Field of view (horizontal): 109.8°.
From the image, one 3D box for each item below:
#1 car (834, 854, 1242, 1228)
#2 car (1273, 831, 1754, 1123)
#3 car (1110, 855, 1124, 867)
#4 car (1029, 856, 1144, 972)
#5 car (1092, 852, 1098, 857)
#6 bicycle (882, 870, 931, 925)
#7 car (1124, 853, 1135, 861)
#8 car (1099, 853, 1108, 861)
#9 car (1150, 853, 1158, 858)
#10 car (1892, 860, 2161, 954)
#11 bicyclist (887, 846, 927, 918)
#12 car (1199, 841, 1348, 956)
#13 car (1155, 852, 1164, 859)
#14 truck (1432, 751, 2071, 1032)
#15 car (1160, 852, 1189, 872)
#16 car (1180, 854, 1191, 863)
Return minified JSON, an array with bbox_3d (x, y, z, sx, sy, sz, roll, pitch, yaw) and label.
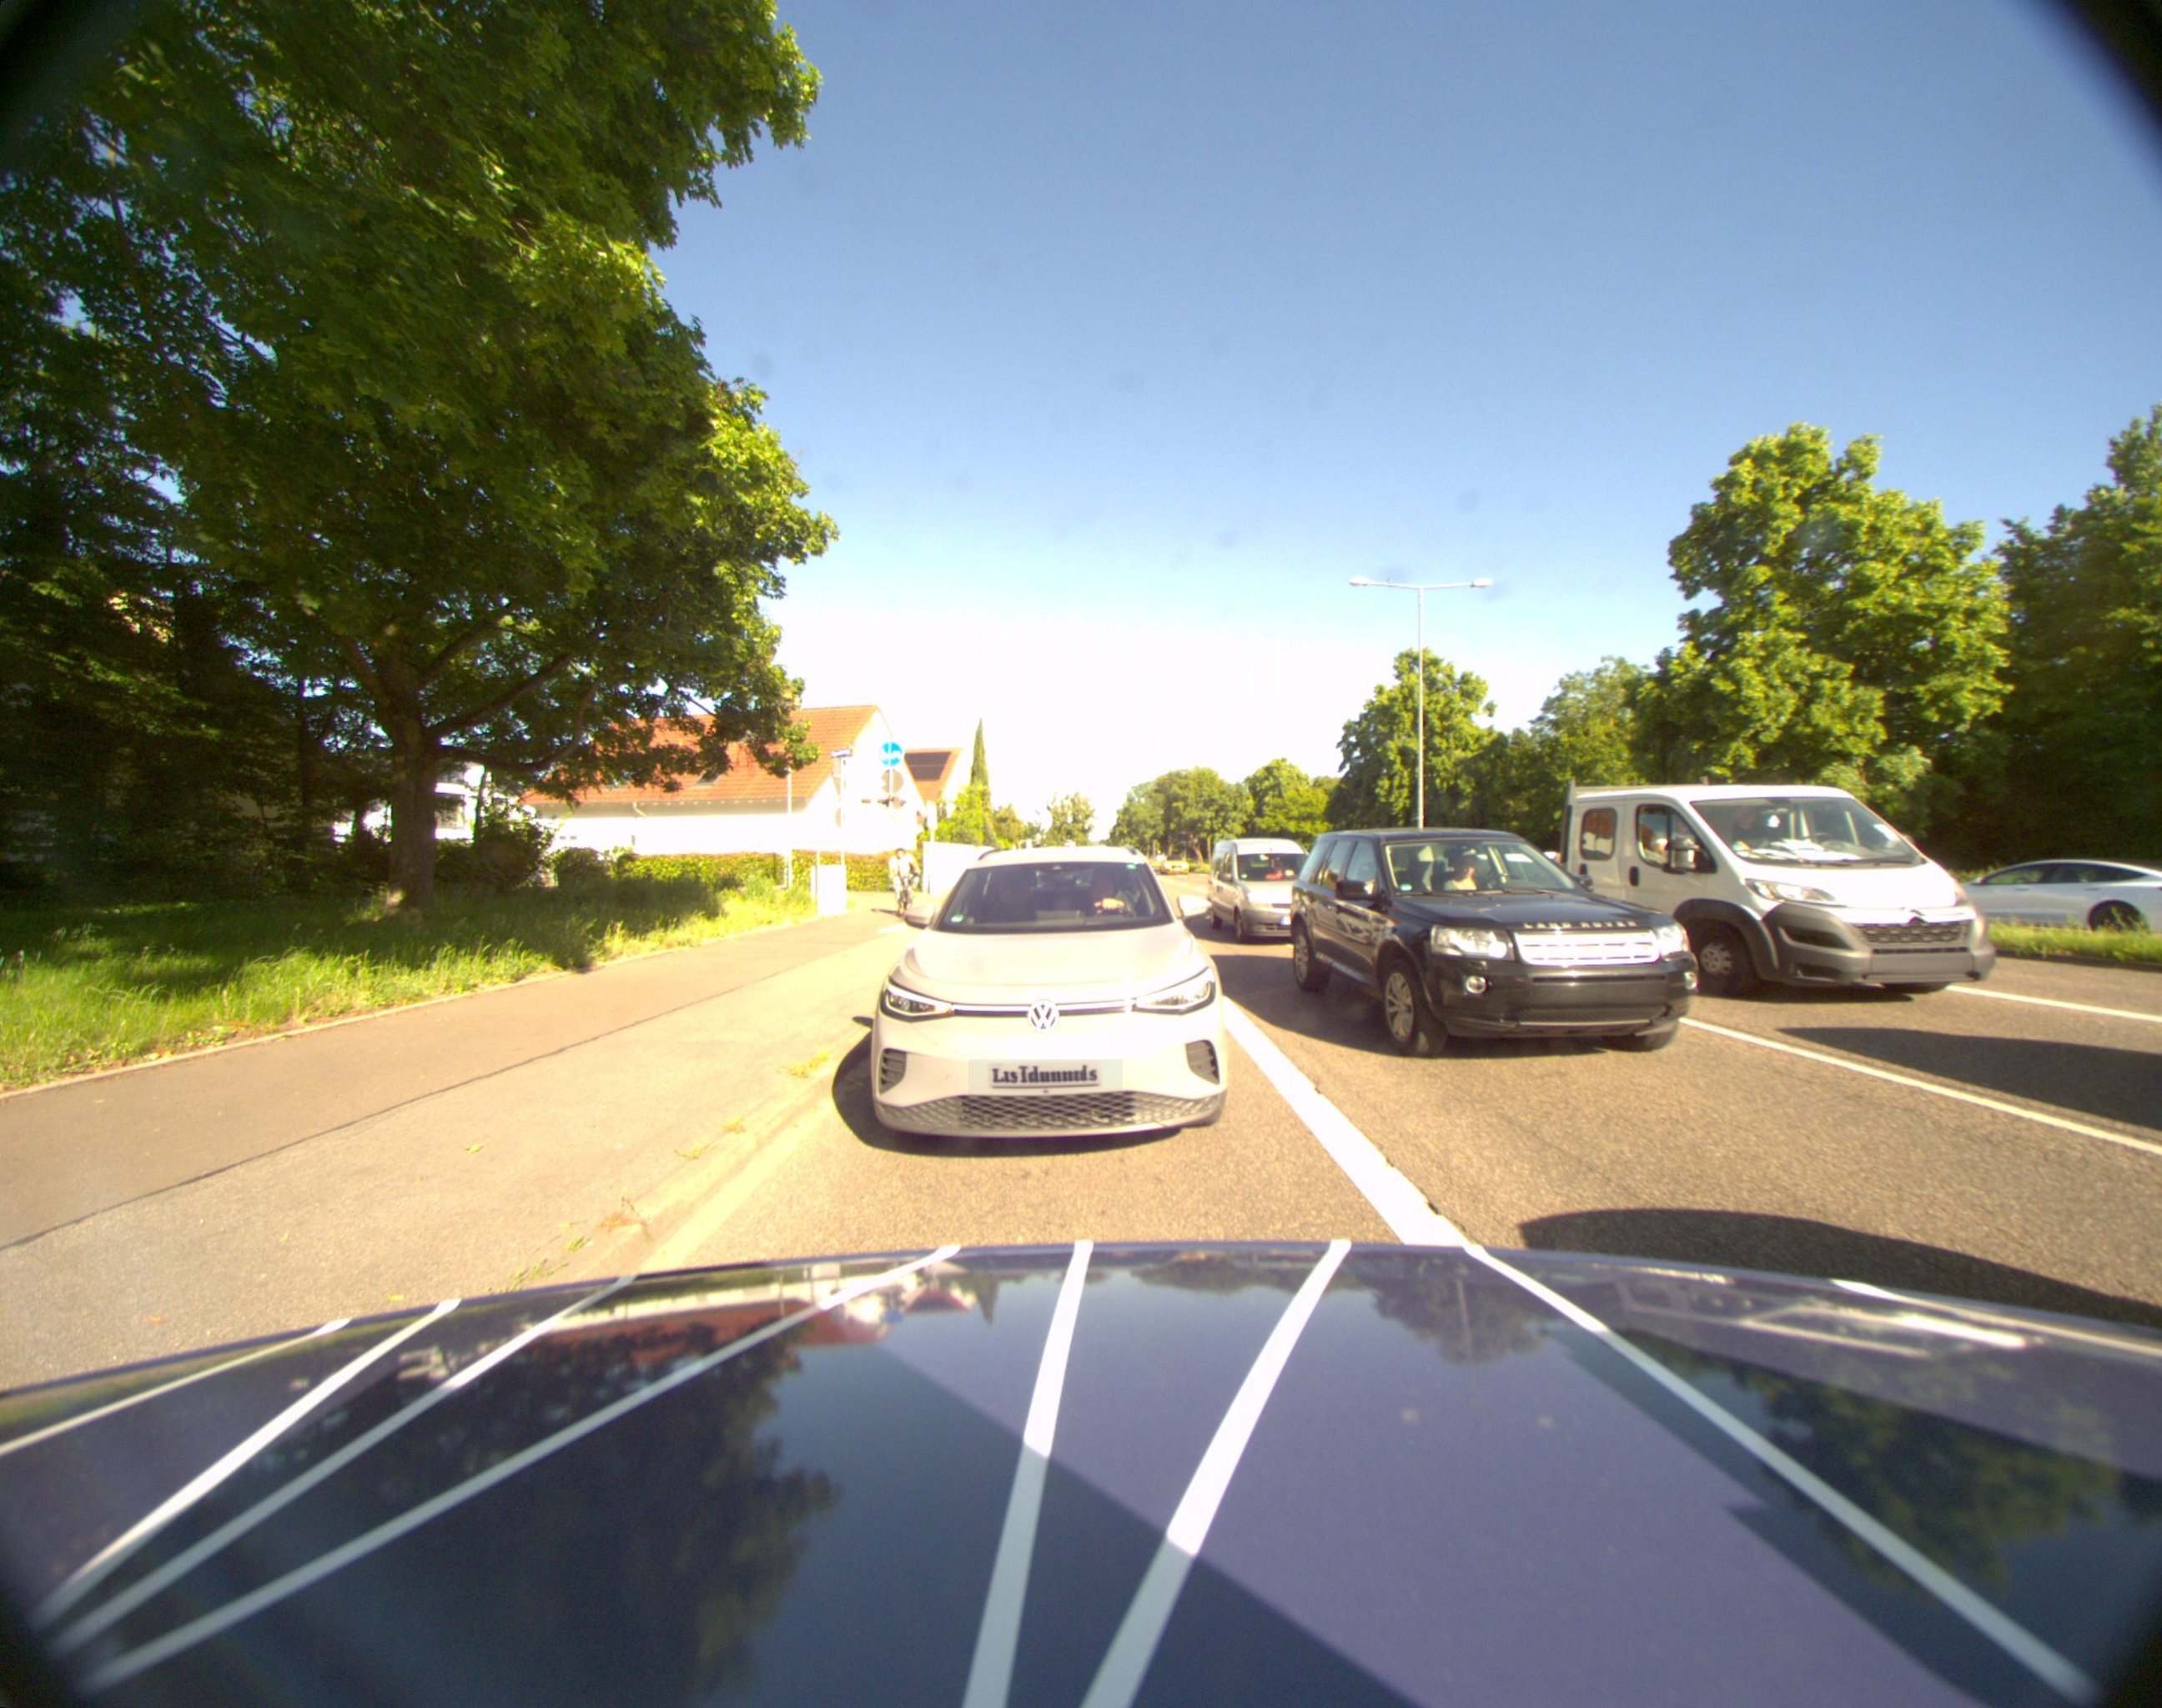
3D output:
[{"bbox_3d":[-0.169,0.855,5.578,1.858,1.679,4.206,0,1,1],"label":"car"},{"bbox_3d":[3.166,0.723,6.774,1.816,1.721,4.386,-1,1,1],"label":"car"},{"bbox_3d":[4.597,0.913,97.452,1.630,1.466,3.931,-1,0,0],"label":"car"},{"bbox_3d":[0.109,0.873,13.022,1.632,1.586,4.024,-1,1,1],"label":"car"},{"bbox_3d":[4.068,0.181,220.134,1.726,1.630,4.000,0,0,1],"label":"car"},{"bbox_3d":[-4.058,0.977,17.579,0.581,1.091,1.982,3,0,-27],"label":"bicycle"},{"bbox_3d":[8.503,0.514,133.631,1.727,1.436,3.999,0,0,-1],"label":"car"},{"bbox_3d":[4.491,0.612,153.763,1.726,1.630,4.000,0,0,1],"label":"car"},{"bbox_3d":[21.039,0.446,219.230,1.792,1.409,4.000,0,0,1],"label":"car"},{"bbox_3d":[18.722,0.888,14.429,1.893,1.515,4.504,0,0,1],"label":"car"},{"bbox_3d":[-4.037,0.627,17.571,0.581,1.572,0.995,3,1,-27],"label":"bicyclist"},{"bbox_3d":[3.325,0.663,13.968,1.632,1.741,4.386,-1,1,1],"label":"car"},{"bbox_3d":[20.502,0.428,198.277,1.792,1.674,4.000,0,0,1],"label":"car"},{"bbox_3d":[7.213,0.280,9.794,2.185,2.307,6.842,-2,1,0],"label":"truck"},{"bbox_3d":[7.167,0.619,58.397,1.704,1.466,3.931,-1,0,0],"label":"car"},{"bbox_3d":[21.114,0.860,153.751,1.878,1.674,4.000,0,0,1],"label":"car"}]
